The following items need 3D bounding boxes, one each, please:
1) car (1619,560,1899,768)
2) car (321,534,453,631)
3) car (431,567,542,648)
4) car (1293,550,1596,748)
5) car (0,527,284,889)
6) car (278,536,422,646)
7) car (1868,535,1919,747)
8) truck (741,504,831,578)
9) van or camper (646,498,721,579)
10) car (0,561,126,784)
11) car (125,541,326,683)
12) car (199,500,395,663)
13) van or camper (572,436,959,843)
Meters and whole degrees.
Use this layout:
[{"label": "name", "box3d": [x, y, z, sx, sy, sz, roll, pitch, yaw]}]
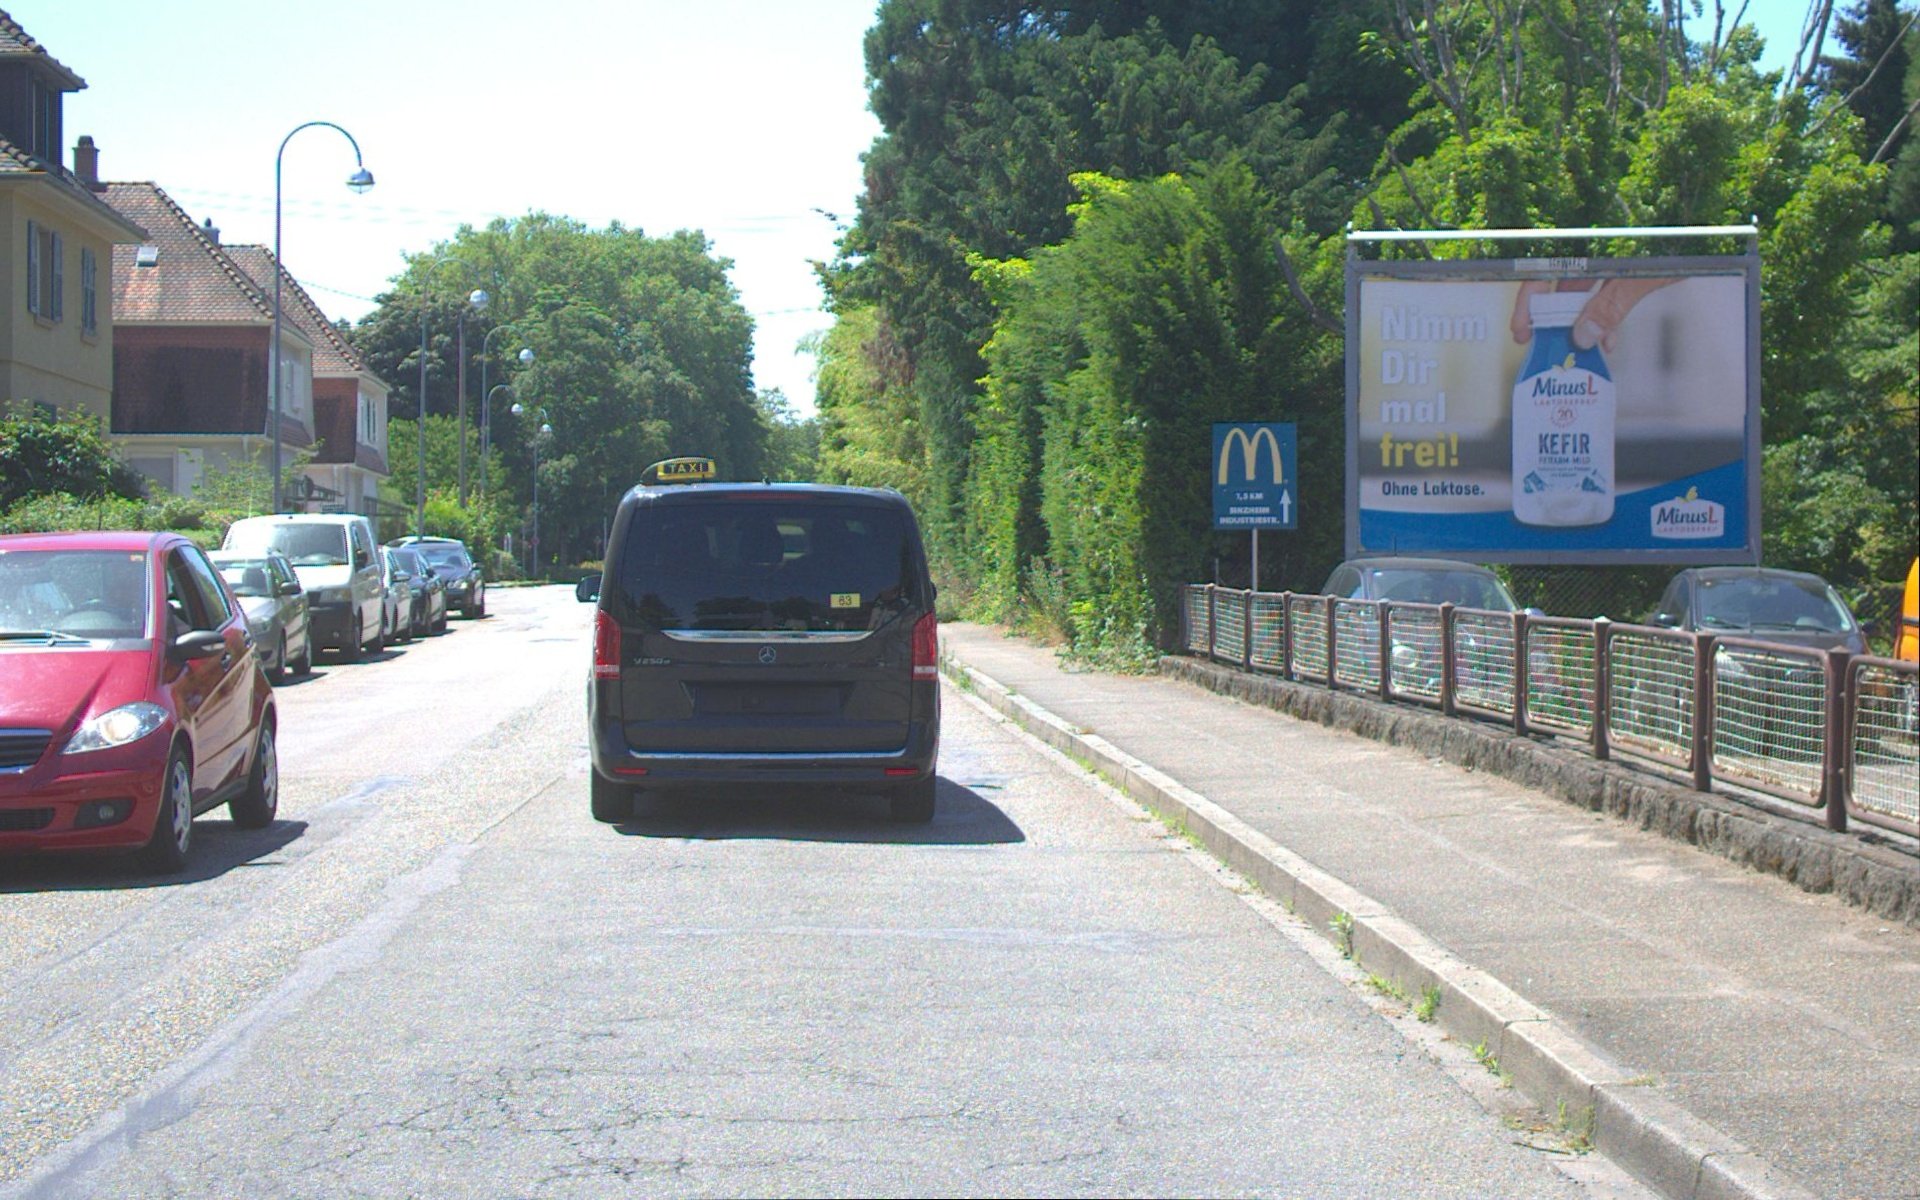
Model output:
[{"label": "car", "box3d": [6.607, 0.495, 28.728, 1.631, 1.538, 3.392, 4, 0, 3]}, {"label": "car", "box3d": [-9.211, -0.316, 55.503, 1.665, 1.487, 4.466, 0, 1, -4]}, {"label": "car", "box3d": [-8.896, 0.118, 64.821, 1.666, 1.381, 4.381, -2, 1, -3]}, {"label": "car", "box3d": [3.964, 0.360, 28.669, 1.631, 1.454, 3.557, 4, 0, -5]}, {"label": "car", "box3d": [-4.489, 0.459, 16.782, 1.814, 1.560, 3.697, -1, 1, -3]}, {"label": "car", "box3d": [-8.956, -0.161, 50.681, 1.666, 1.487, 3.478, -2, 1, -4]}, {"label": "car", "box3d": [9.094, 0.411, 28.307, 1.774, 1.793, 4.166, 4, 0, -4]}, {"label": "truck", "box3d": [-5.515, -1.825, 107.990, 2.355, 2.251, 6.093, 0, 1, -7]}, {"label": "van or camper", "box3d": [-9.032, -1.992, 111.939, 2.262, 2.519, 4.760, -1, 1, -6]}, {"label": "car", "box3d": [-7.240, 0.488, 24.840, 1.715, 1.480, 4.077, -2, 1, -5]}, {"label": "car", "box3d": [-8.286, 0.096, 39.074, 1.686, 1.520, 4.063, 0, 1, -4]}, {"label": "car", "box3d": [-8.627, -0.276, 45.071, 1.878, 1.956, 4.626, -2, 1, -4]}, {"label": "van or camper", "box3d": [-1.133, 0.169, 19.825, 1.902, 2.007, 5.271, 1, 1, -4]}]
